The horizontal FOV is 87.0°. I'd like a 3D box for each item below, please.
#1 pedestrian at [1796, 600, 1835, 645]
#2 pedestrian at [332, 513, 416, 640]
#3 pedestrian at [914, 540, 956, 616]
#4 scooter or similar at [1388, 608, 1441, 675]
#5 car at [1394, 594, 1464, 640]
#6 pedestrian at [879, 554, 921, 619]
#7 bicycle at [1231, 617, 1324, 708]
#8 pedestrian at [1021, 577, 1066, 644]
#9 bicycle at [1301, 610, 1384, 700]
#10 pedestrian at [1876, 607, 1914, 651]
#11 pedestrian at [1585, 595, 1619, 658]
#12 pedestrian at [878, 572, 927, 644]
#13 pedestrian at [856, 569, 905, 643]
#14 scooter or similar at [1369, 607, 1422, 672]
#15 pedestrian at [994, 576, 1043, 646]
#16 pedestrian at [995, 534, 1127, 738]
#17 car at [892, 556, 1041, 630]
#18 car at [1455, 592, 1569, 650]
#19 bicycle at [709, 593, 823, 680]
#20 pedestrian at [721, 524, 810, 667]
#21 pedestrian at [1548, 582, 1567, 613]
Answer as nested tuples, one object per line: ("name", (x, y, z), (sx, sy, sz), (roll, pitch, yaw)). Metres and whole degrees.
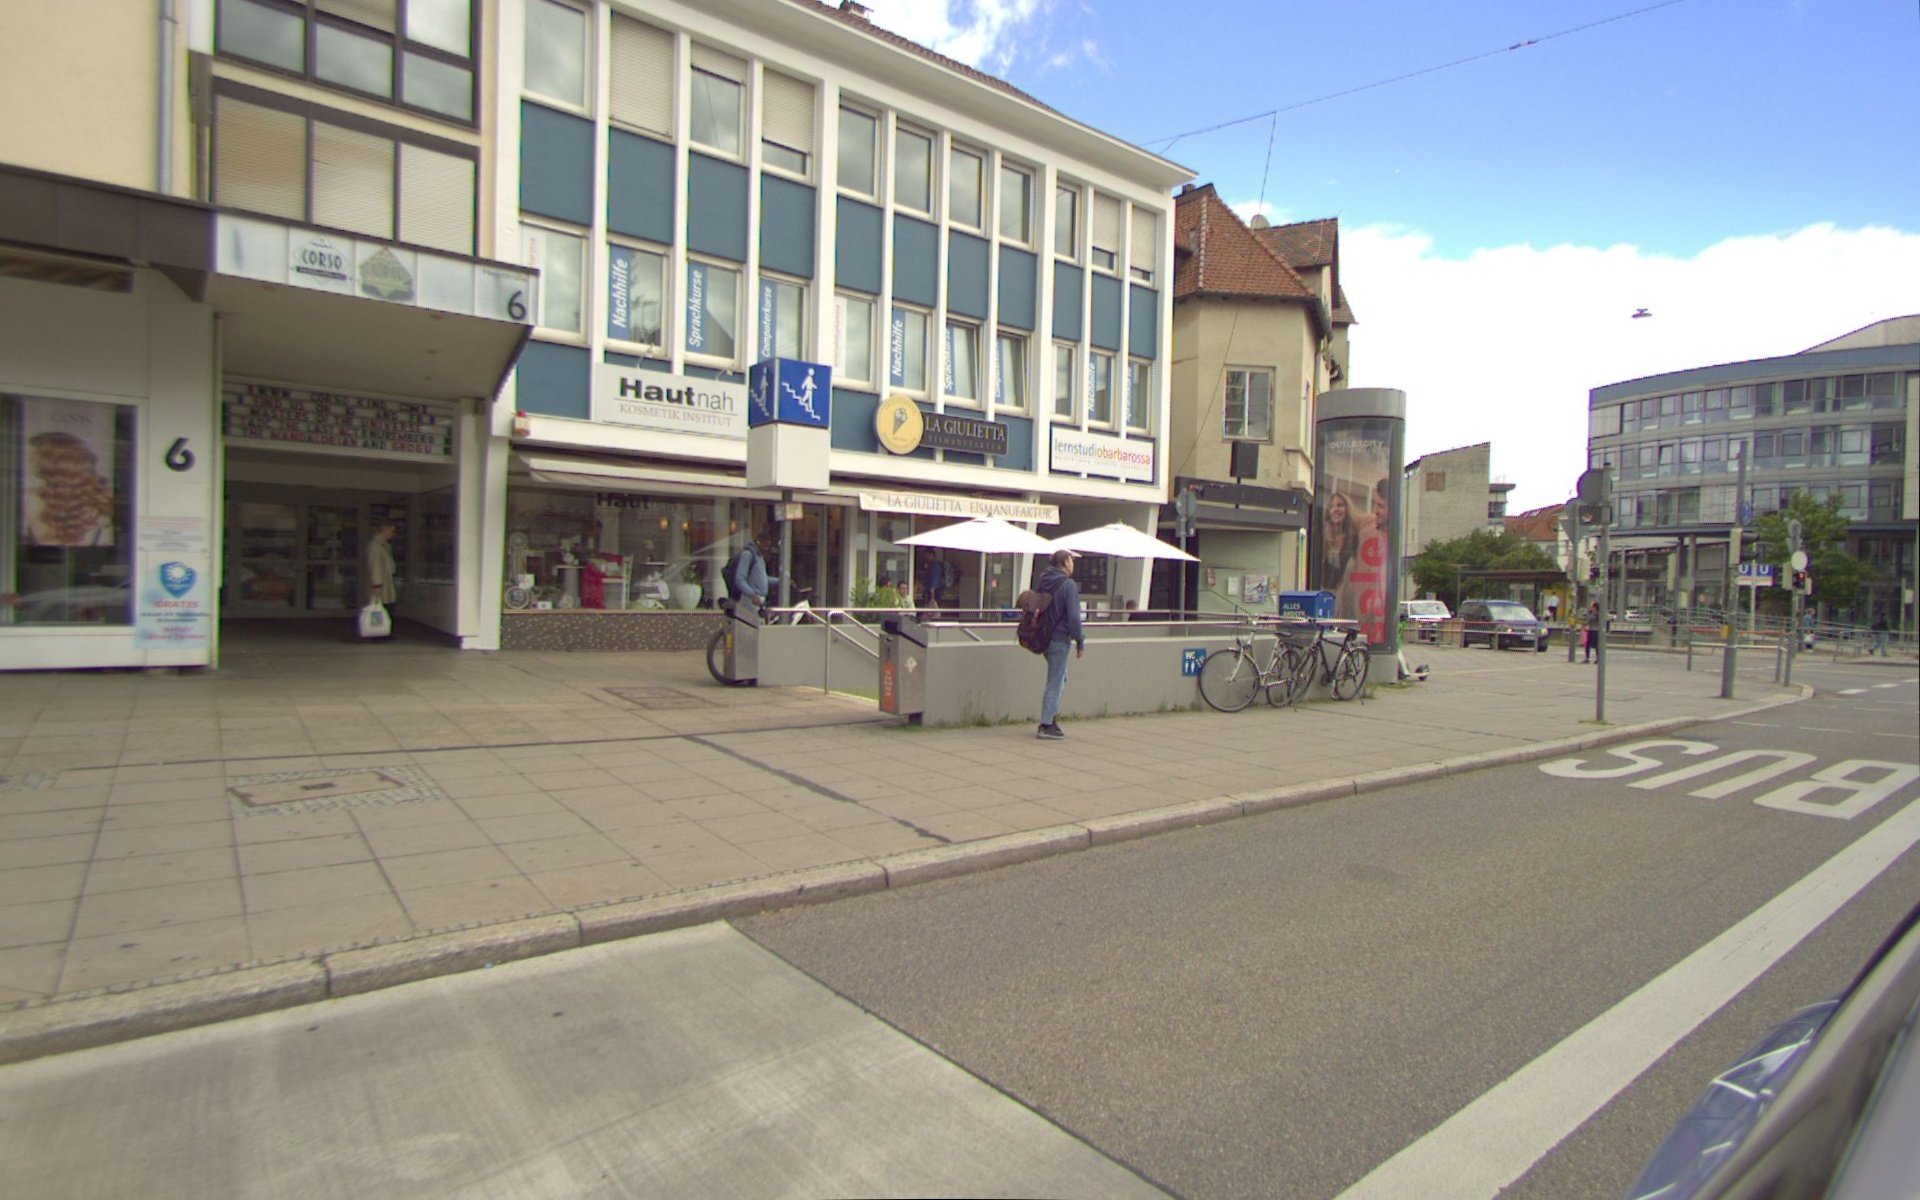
("pedestrian", (33.165, 0.862, 39.234), (0.795, 1.668, 0.883), (2, 1, 17))
("pedestrian", (-7.969, -0.313, 13.769), (0.838, 1.655, 0.689), (2, 1, -41))
("pedestrian", (-0.488, -0.418, 20.009), (0.577, 1.479, 0.614), (2, -3, -39))
("scooter or similar", (8.179, 0.740, 18.206), (1.186, 1.147, 0.315), (2, 1, -38))
("car", (21.304, 0.709, 46.172), (1.852, 1.919, 4.909), (1, 1, 12))
("pedestrian", (-1.176, -0.255, 19.800), (0.577, 1.236, 0.614), (2, -2, -39))
("bicycle", (3.697, 0.708, 11.739), (1.361, 0.986, 0.274), (2, 1, -38))
("pedestrian", (1.569, 0.209, 19.001), (0.577, 1.236, 0.614), (2, -3, -41))
("bicycle", (4.811, 0.679, 12.696), (1.361, 1.066, 0.274), (2, 1, -38))
("pedestrian", (35.183, 1.081, 38.091), (0.834, 1.656, 0.641), (0, -2, 19))
("pedestrian", (17.012, 0.709, 26.843), (0.580, 1.643, 0.739), (-1, -2, 20))
("pedestrian", (-1.021, 0.135, 17.869), (0.577, 1.235, 0.614), (2, 0, -41))
("pedestrian", (-1.357, 0.111, 17.174), (0.577, 1.236, 0.614), (2, -3, -41))
("scooter or similar", (7.945, 0.717, 18.463), (1.186, 1.147, 0.315), (2, 1, -38))
("pedestrian", (1.080, 0.203, 18.619), (0.577, 1.235, 0.614), (2, 2, -41))
("pedestrian", (0.874, 0.287, 8.719), (0.838, 1.655, 0.689), (2, 1, -39))
("car", (0.084, -0.187, 25.114), (1.702, 1.687, 3.980), (2, 0, -34))
("car", (20.052, 0.708, 37.009), (1.847, 1.919, 4.920), (1, 1, 6))
("bicycle", (-2.295, 0.429, 12.078), (1.363, 0.986, 0.274), (1, 1, -42))
("pedestrian", (-2.355, -0.059, 12.234), (0.786, 1.655, 0.667), (2, 1, -41))
("pedestrian", (34.566, -0.156, 58.525), (0.682, 1.766, 0.615), (0, -2, -2))
